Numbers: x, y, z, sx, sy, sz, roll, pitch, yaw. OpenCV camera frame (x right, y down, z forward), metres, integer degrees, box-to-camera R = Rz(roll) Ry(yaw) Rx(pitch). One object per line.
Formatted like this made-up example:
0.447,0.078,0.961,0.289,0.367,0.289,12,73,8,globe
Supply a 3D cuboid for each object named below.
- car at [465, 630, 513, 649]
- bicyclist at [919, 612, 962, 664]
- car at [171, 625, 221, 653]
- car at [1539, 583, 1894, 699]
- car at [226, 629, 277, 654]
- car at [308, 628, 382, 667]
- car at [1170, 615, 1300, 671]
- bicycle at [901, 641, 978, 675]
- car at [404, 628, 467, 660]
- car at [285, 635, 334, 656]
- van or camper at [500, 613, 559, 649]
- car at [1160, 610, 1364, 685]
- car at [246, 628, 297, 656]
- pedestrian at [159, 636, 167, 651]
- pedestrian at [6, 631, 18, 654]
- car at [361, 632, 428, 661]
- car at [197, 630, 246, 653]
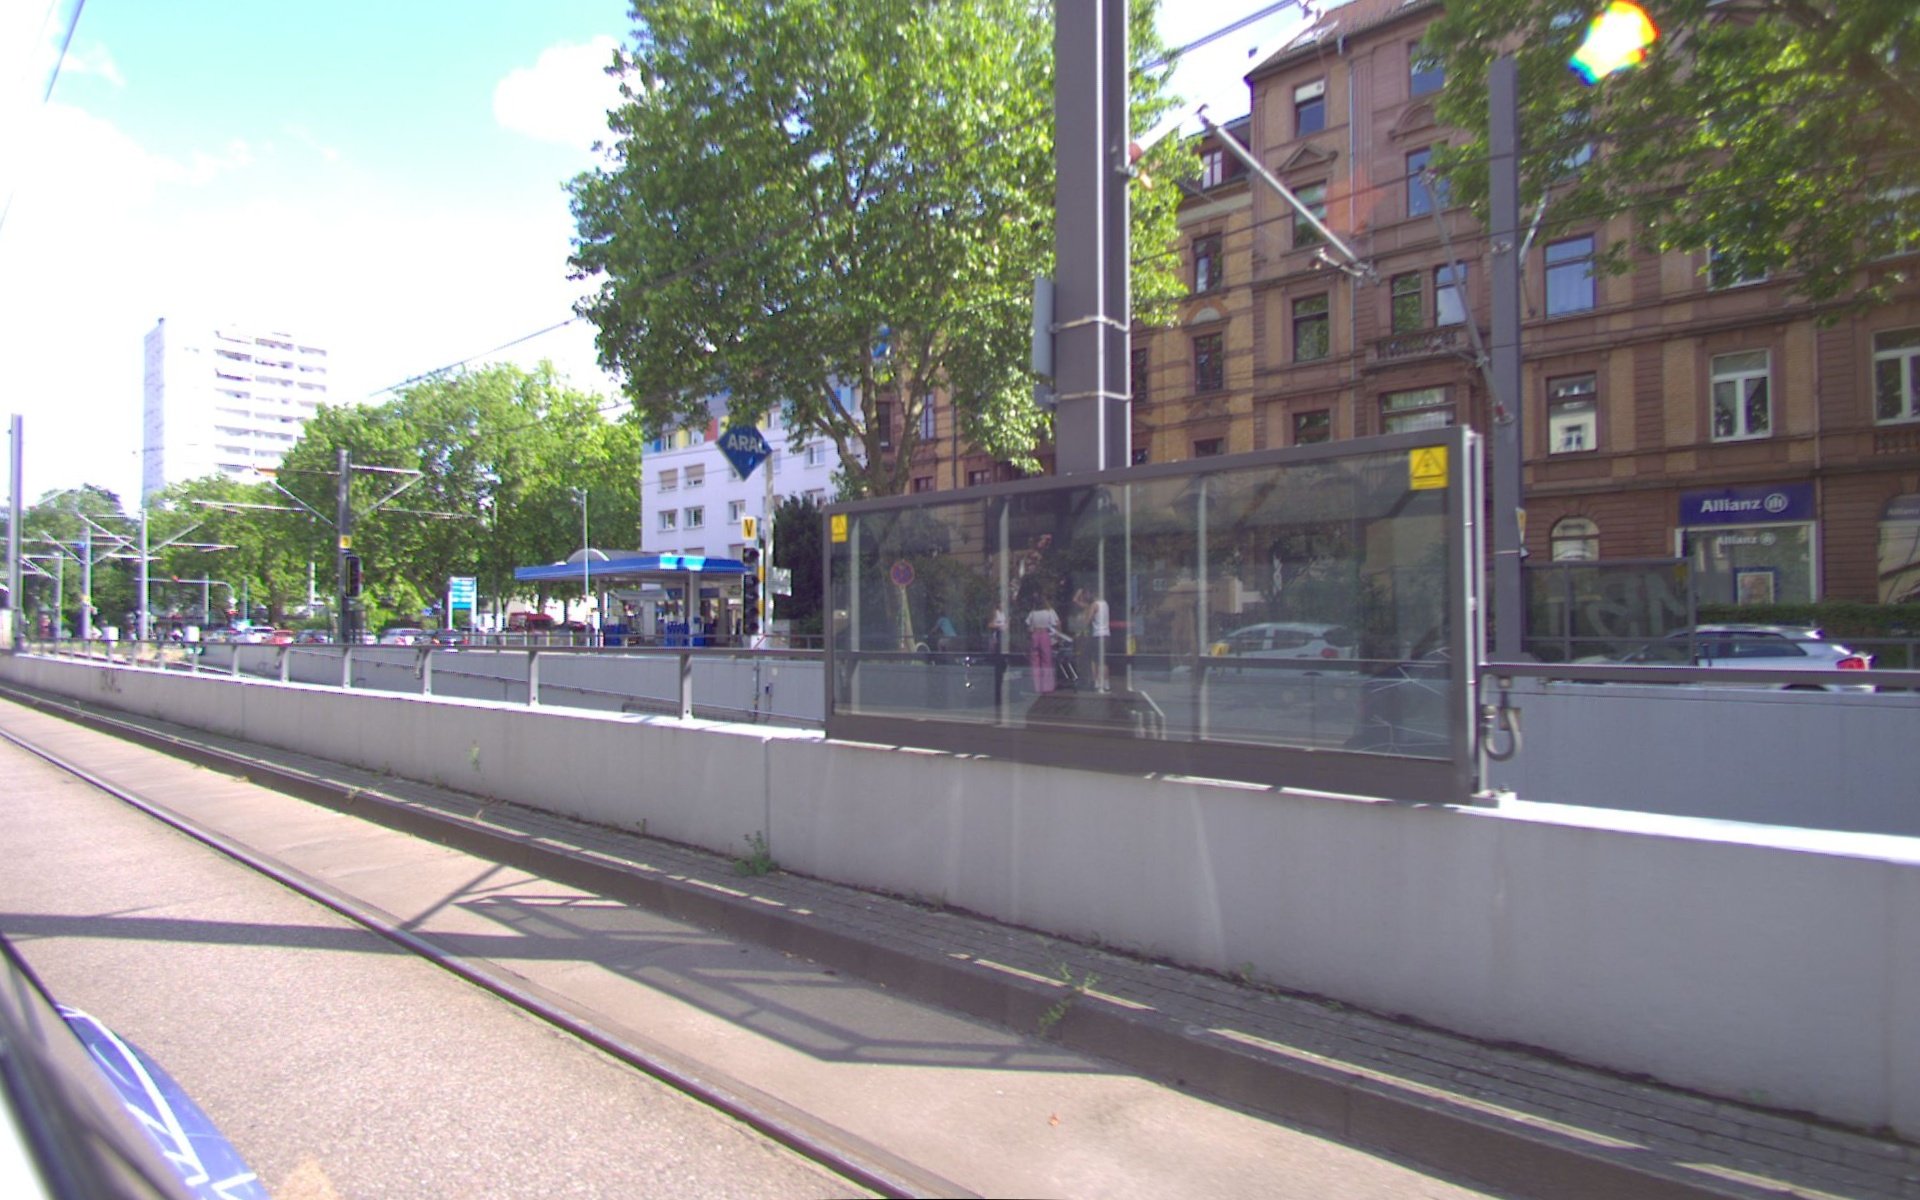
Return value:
-35.400,2.992,76.090,3.996,1.421,1.734,-2,-3,40,car
-0.561,1.071,28.730,1.044,1.466,0.681,-2,-2,41,bicyclist
-60.247,3.084,79.740,5.332,2.002,2.053,-4,-4,41,car
10.998,0.631,14.952,3.999,1.493,1.626,-2,-5,41,car
-49.123,2.844,70.140,4.676,1.619,1.742,-1,-2,41,car
-34.532,2.676,56.776,5.074,1.617,1.929,-6,5,41,car
7.977,1.206,29.186,2.000,1.494,3.943,-2,-2,43,car
-0.601,1.630,28.750,2.367,0.920,0.664,-2,-2,41,bicycle
-24.547,2.053,47.325,1.649,1.427,3.785,1,-3,-44,car
-39.179,2.747,60.928,3.632,1.198,1.599,-2,-3,42,car
-33.205,2.447,77.926,5.348,2.662,2.079,-2,-5,42,van or camper
5.751,0.925,19.495,3.491,1.313,1.480,-3,-5,43,car
-44.348,2.719,65.201,4.141,1.619,1.695,-4,-4,41,car
-92.063,5.047,116.879,0.648,1.716,0.662,-2,-3,43,pedestrian
-73.860,3.334,78.860,0.556,1.746,0.521,-2,-5,36,pedestrian
-29.011,2.390,51.854,4.404,1.427,1.703,-2,-4,42,car
-54.849,3.123,75.143,5.150,1.665,1.847,-2,-4,41,car
